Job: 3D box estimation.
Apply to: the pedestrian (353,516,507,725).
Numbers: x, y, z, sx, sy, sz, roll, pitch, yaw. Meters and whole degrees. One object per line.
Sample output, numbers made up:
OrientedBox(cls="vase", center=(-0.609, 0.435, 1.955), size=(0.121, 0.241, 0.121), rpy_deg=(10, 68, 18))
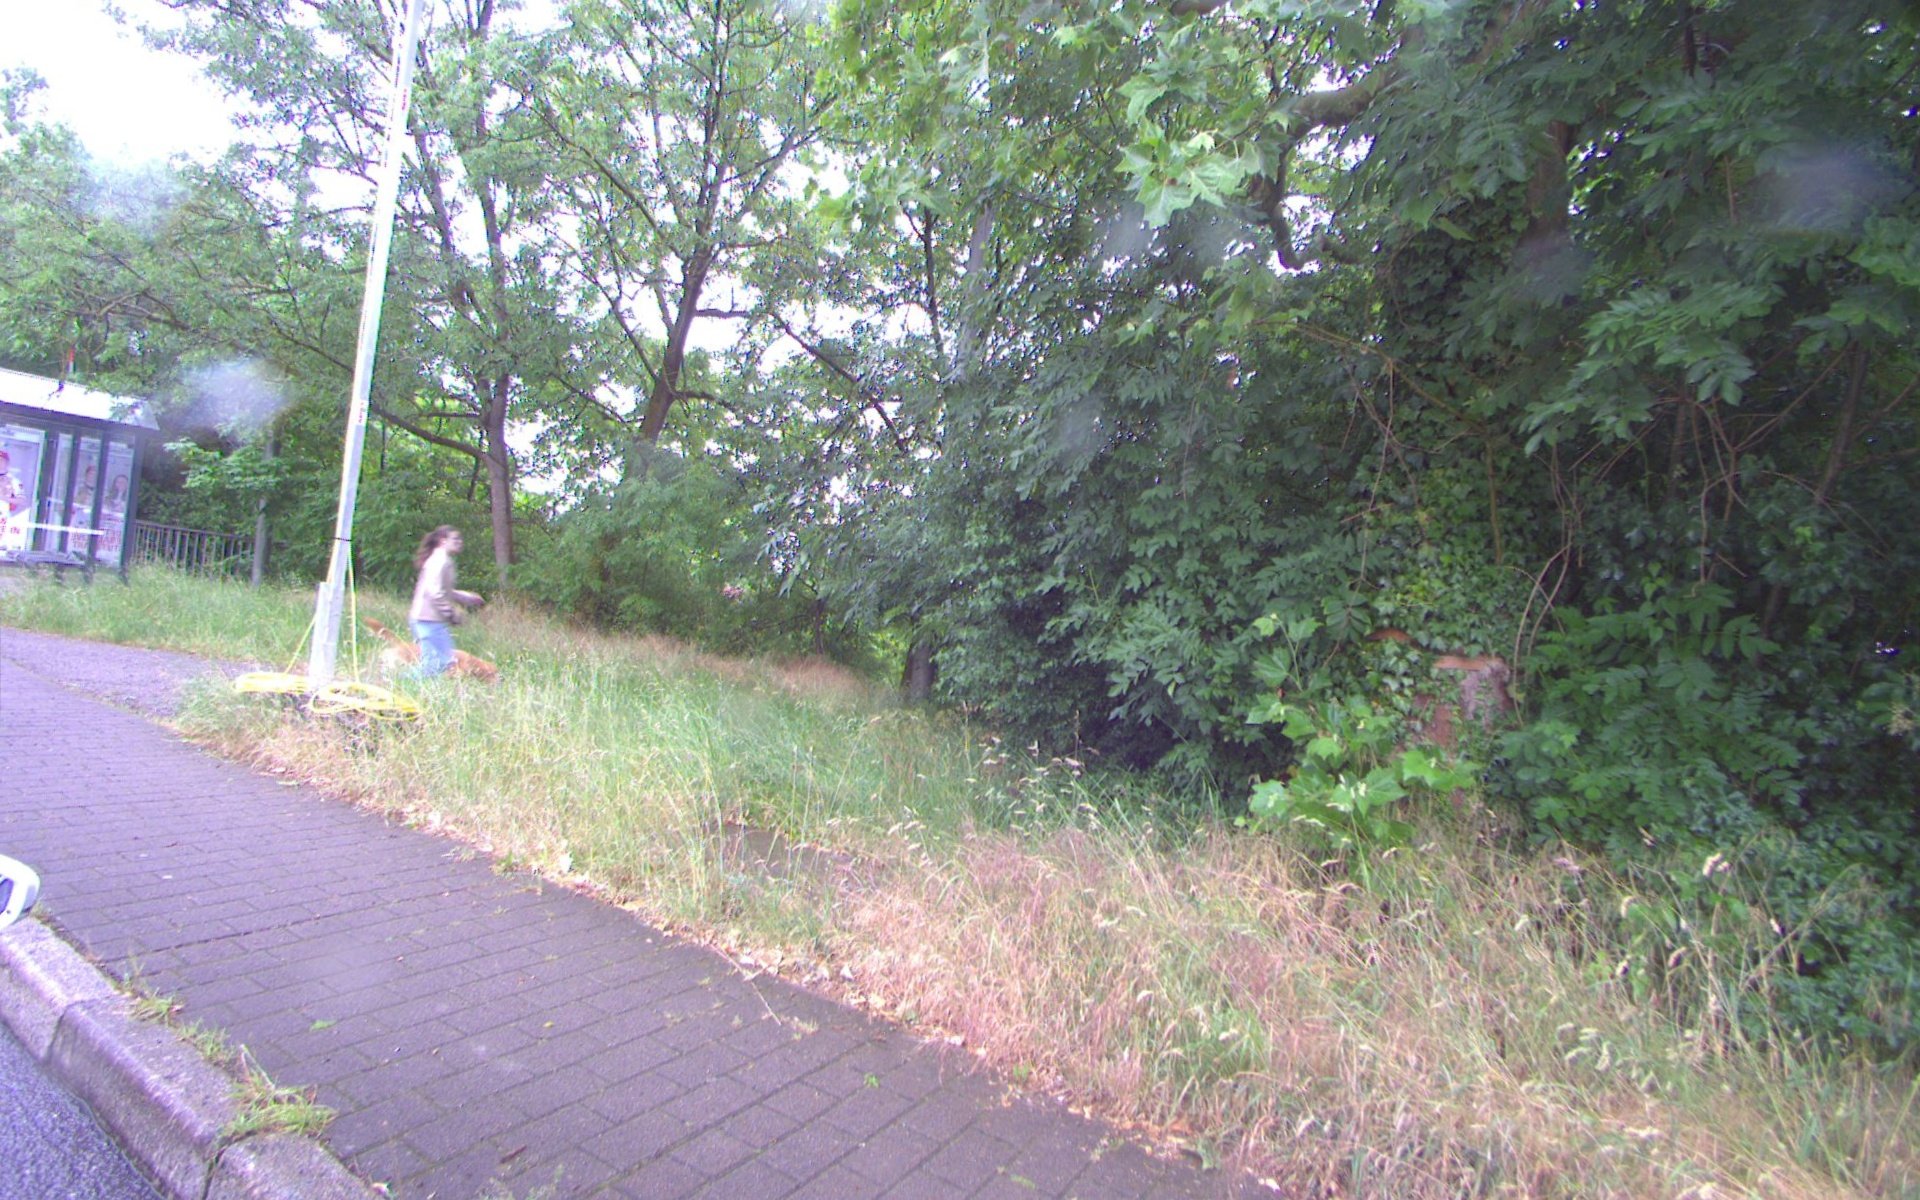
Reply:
OrientedBox(cls="pedestrian", center=(-4.428, 0.177, 8.418), size=(0.722, 1.622, 0.749), rpy_deg=(6, -1, 40))
